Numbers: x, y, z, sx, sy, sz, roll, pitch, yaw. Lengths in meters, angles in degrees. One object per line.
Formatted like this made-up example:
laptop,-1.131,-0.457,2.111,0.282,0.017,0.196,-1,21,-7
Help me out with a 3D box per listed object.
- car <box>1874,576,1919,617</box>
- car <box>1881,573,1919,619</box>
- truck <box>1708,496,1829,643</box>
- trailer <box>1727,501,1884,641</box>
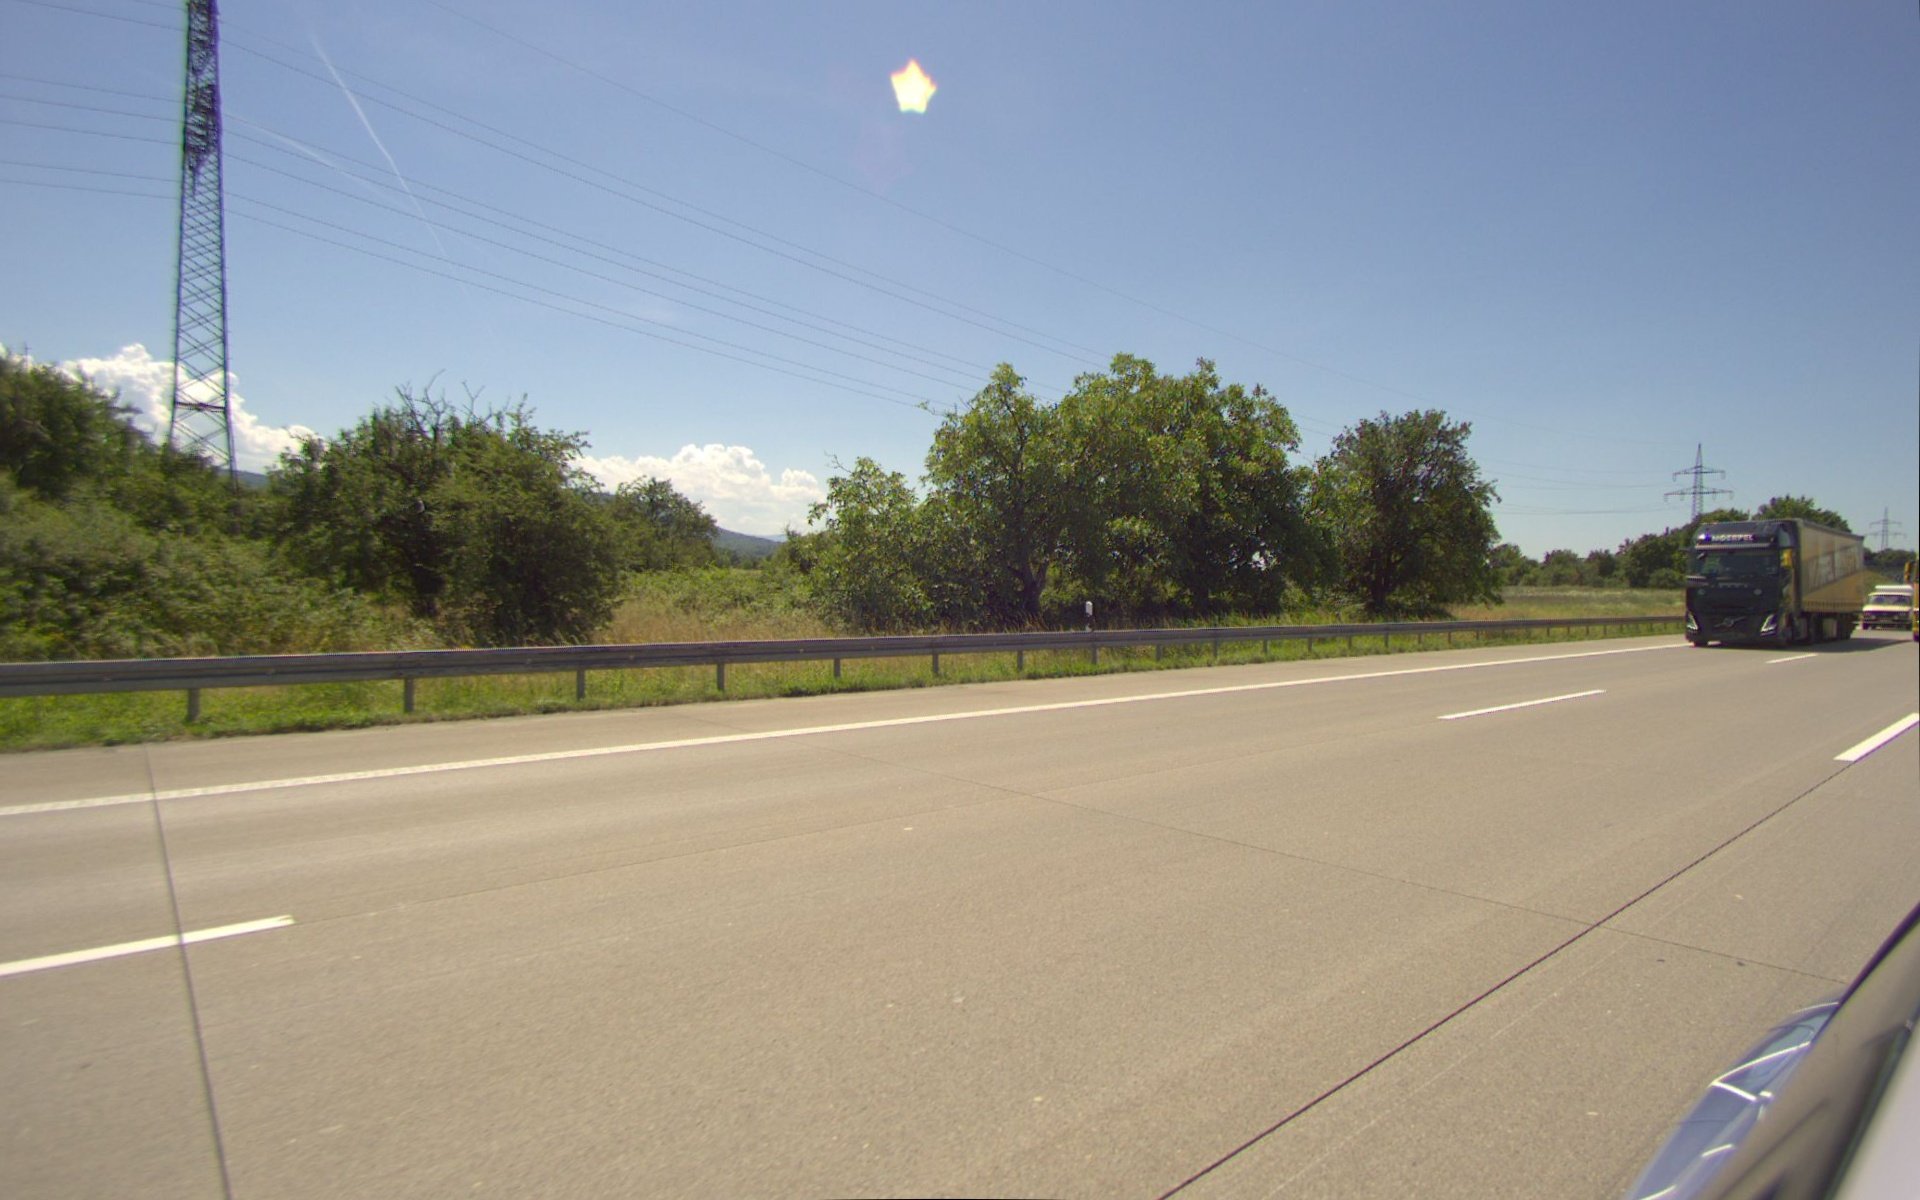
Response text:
car,48.066,-0.178,51.541,3.752,2.039,1.787,0,0,-41
car,51.558,-0.217,54.570,5.419,2.377,2.138,0,0,-41
truck,25.418,-0.895,31.738,5.606,4.246,1.997,0,0,-41
trailer,30.542,-0.926,36.184,14.487,4.246,1.997,0,0,-41
